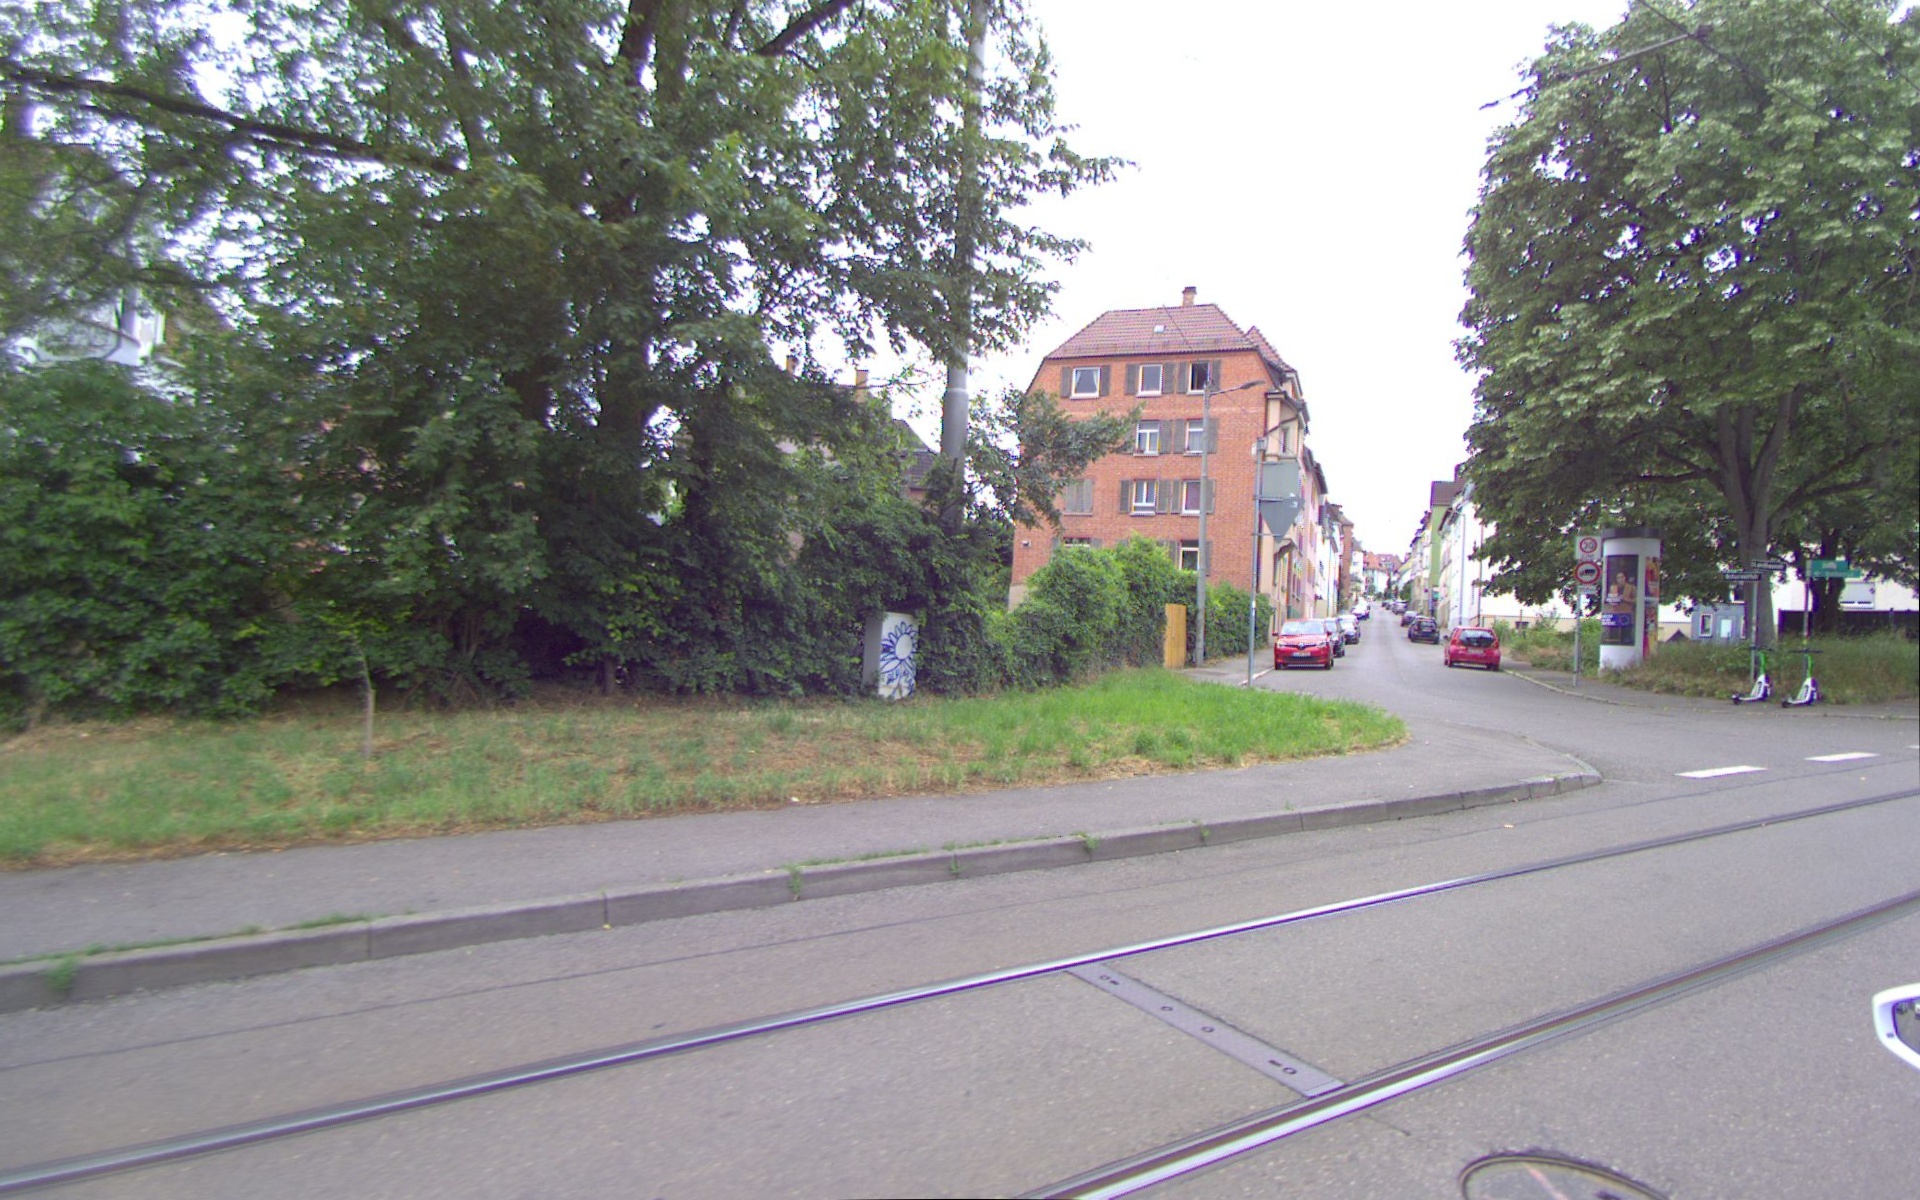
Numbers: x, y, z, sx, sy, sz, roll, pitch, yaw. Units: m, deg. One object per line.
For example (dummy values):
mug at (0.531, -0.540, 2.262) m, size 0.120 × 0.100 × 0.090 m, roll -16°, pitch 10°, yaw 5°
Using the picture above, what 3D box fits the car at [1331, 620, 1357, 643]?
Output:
car at (23.878, 1.936, 62.410) m, size 1.429 × 1.252 × 3.420 m, roll 2°, pitch 0°, yaw 23°

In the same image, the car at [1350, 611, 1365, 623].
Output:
car at (43.662, 1.880, 110.336) m, size 1.429 × 1.252 × 3.420 m, roll 2°, pitch 0°, yaw 23°

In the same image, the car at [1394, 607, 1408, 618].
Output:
car at (61.311, 1.760, 139.696) m, size 1.644 × 1.434 × 3.729 m, roll 2°, pitch 0°, yaw 23°

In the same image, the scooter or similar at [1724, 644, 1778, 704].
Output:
scooter or similar at (16.640, 1.547, 21.126) m, size 1.697 × 1.161 × 0.310 m, roll -1°, pitch 1°, yaw -31°

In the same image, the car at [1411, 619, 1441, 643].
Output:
car at (30.760, 2.015, 66.381) m, size 1.644 × 1.434 × 3.729 m, roll 2°, pitch 0°, yaw 23°

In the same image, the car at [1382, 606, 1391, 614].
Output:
car at (80.810, 1.875, 190.354) m, size 1.644 × 1.434 × 3.729 m, roll 2°, pitch 0°, yaw 23°

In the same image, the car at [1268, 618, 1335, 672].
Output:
car at (10.678, 1.340, 31.270) m, size 1.716 × 1.497 × 3.612 m, roll 2°, pitch 0°, yaw 23°

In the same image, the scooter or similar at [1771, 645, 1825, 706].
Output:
scooter or similar at (17.176, 1.525, 20.578) m, size 1.697 × 1.161 × 0.310 m, roll -1°, pitch 1°, yaw -31°

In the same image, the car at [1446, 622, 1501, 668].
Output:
car at (18.233, 1.546, 35.728) m, size 1.622 × 1.434 × 3.727 m, roll 2°, pitch 0°, yaw 26°

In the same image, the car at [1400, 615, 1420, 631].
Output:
car at (42.693, 2.193, 95.416) m, size 1.644 × 1.434 × 3.729 m, roll 2°, pitch 0°, yaw 23°

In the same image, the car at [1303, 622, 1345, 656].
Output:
car at (15.135, 1.586, 41.664) m, size 1.429 × 1.252 × 3.779 m, roll 2°, pitch 0°, yaw 23°
